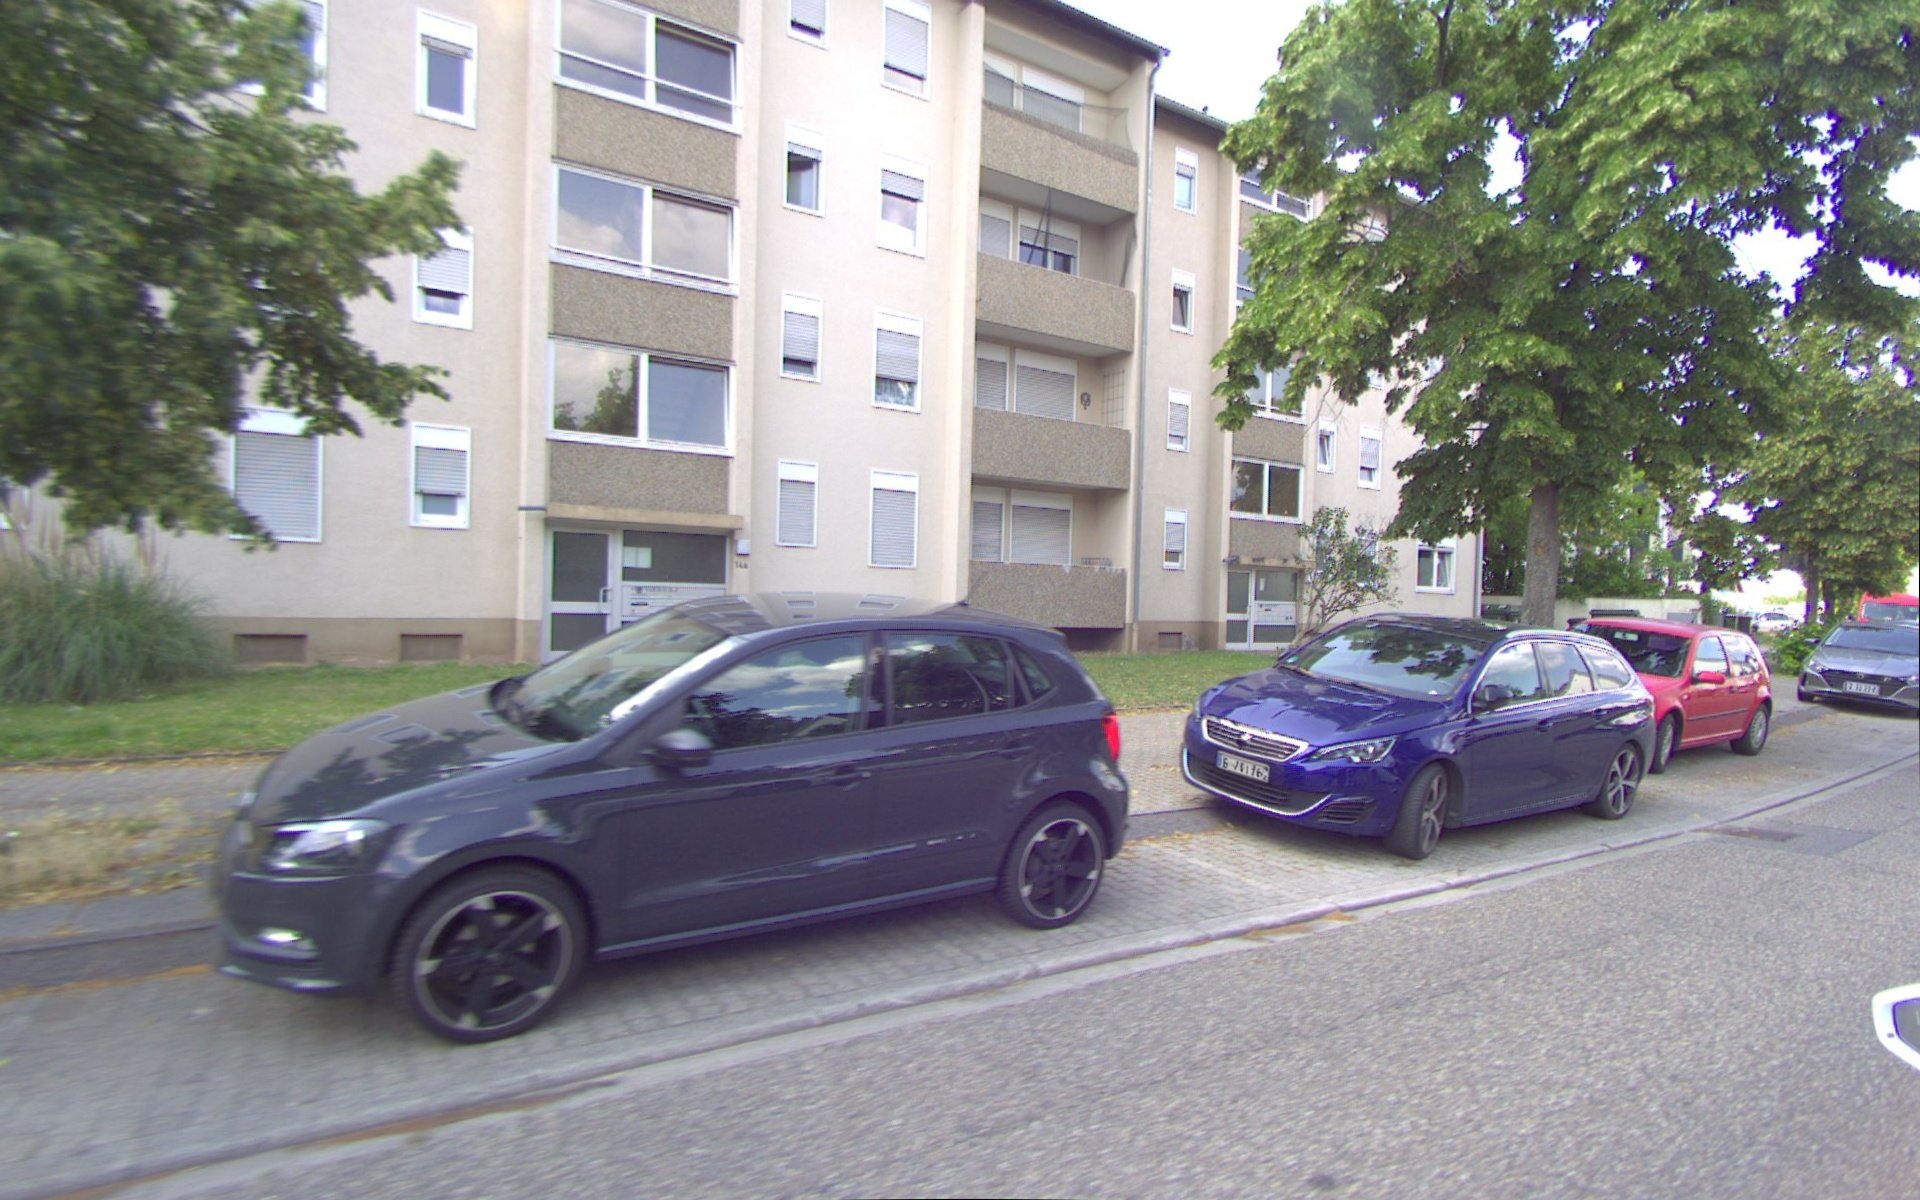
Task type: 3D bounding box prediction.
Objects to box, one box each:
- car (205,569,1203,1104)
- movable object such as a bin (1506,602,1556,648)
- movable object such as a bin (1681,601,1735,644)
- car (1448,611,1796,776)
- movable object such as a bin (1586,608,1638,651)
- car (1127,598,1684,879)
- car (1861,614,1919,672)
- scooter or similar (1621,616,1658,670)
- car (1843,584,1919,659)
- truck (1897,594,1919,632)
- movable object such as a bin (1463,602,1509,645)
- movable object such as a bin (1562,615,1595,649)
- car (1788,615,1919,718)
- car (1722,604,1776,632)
[{"bbox_3d":[-0.947,0.694,4.710,3.989,1.509,1.750,1,2,-33],"label":"car"},{"bbox_3d":[19.311,0.823,33.965,1.183,1.457,1.363,0,3,43],"label":"movable object such as a bin"},{"bbox_3d":[27.560,0.814,37.014,1.815,1.524,1.341,1,1,-45],"label":"movable object such as a bin"},{"bbox_3d":[7.609,0.938,11.449,4.048,1.458,1.825,1,3,-34],"label":"car"},{"bbox_3d":[21.003,0.937,32.363,0.869,1.292,1.184,-3,3,-35],"label":"movable object such as a bin"},{"bbox_3d":[3.561,0.855,7.679,4.525,1.509,1.749,2,2,-35],"label":"car"},{"bbox_3d":[27.554,1.235,29.191,1.766,1.477,4.413,7,4,40],"label":"car"},{"bbox_3d":[15.552,0.972,22.971,1.132,1.181,0.415,0,2,-43],"label":"scooter or similar"},{"bbox_3d":[35.786,0.777,38.801,2.042,2.534,5.804,7,5,44],"label":"car"},{"bbox_3d":[94.204,1.294,98.777,2.831,3.560,12.284,2,1,43],"label":"truck"},{"bbox_3d":[18.568,0.813,35.456,0.923,1.457,1.232,-4,3,-44],"label":"movable object such as a bin"},{"bbox_3d":[20.435,1.054,33.189,0.869,1.038,0.620,-3,3,-35],"label":"movable object such as a bin"},{"bbox_3d":[16.238,1.078,17.828,4.311,1.509,1.744,1,3,-43],"label":"car"},{"bbox_3d":[48.793,1.117,62.071,4.402,1.477,1.771,2,4,-42],"label":"car"}]
